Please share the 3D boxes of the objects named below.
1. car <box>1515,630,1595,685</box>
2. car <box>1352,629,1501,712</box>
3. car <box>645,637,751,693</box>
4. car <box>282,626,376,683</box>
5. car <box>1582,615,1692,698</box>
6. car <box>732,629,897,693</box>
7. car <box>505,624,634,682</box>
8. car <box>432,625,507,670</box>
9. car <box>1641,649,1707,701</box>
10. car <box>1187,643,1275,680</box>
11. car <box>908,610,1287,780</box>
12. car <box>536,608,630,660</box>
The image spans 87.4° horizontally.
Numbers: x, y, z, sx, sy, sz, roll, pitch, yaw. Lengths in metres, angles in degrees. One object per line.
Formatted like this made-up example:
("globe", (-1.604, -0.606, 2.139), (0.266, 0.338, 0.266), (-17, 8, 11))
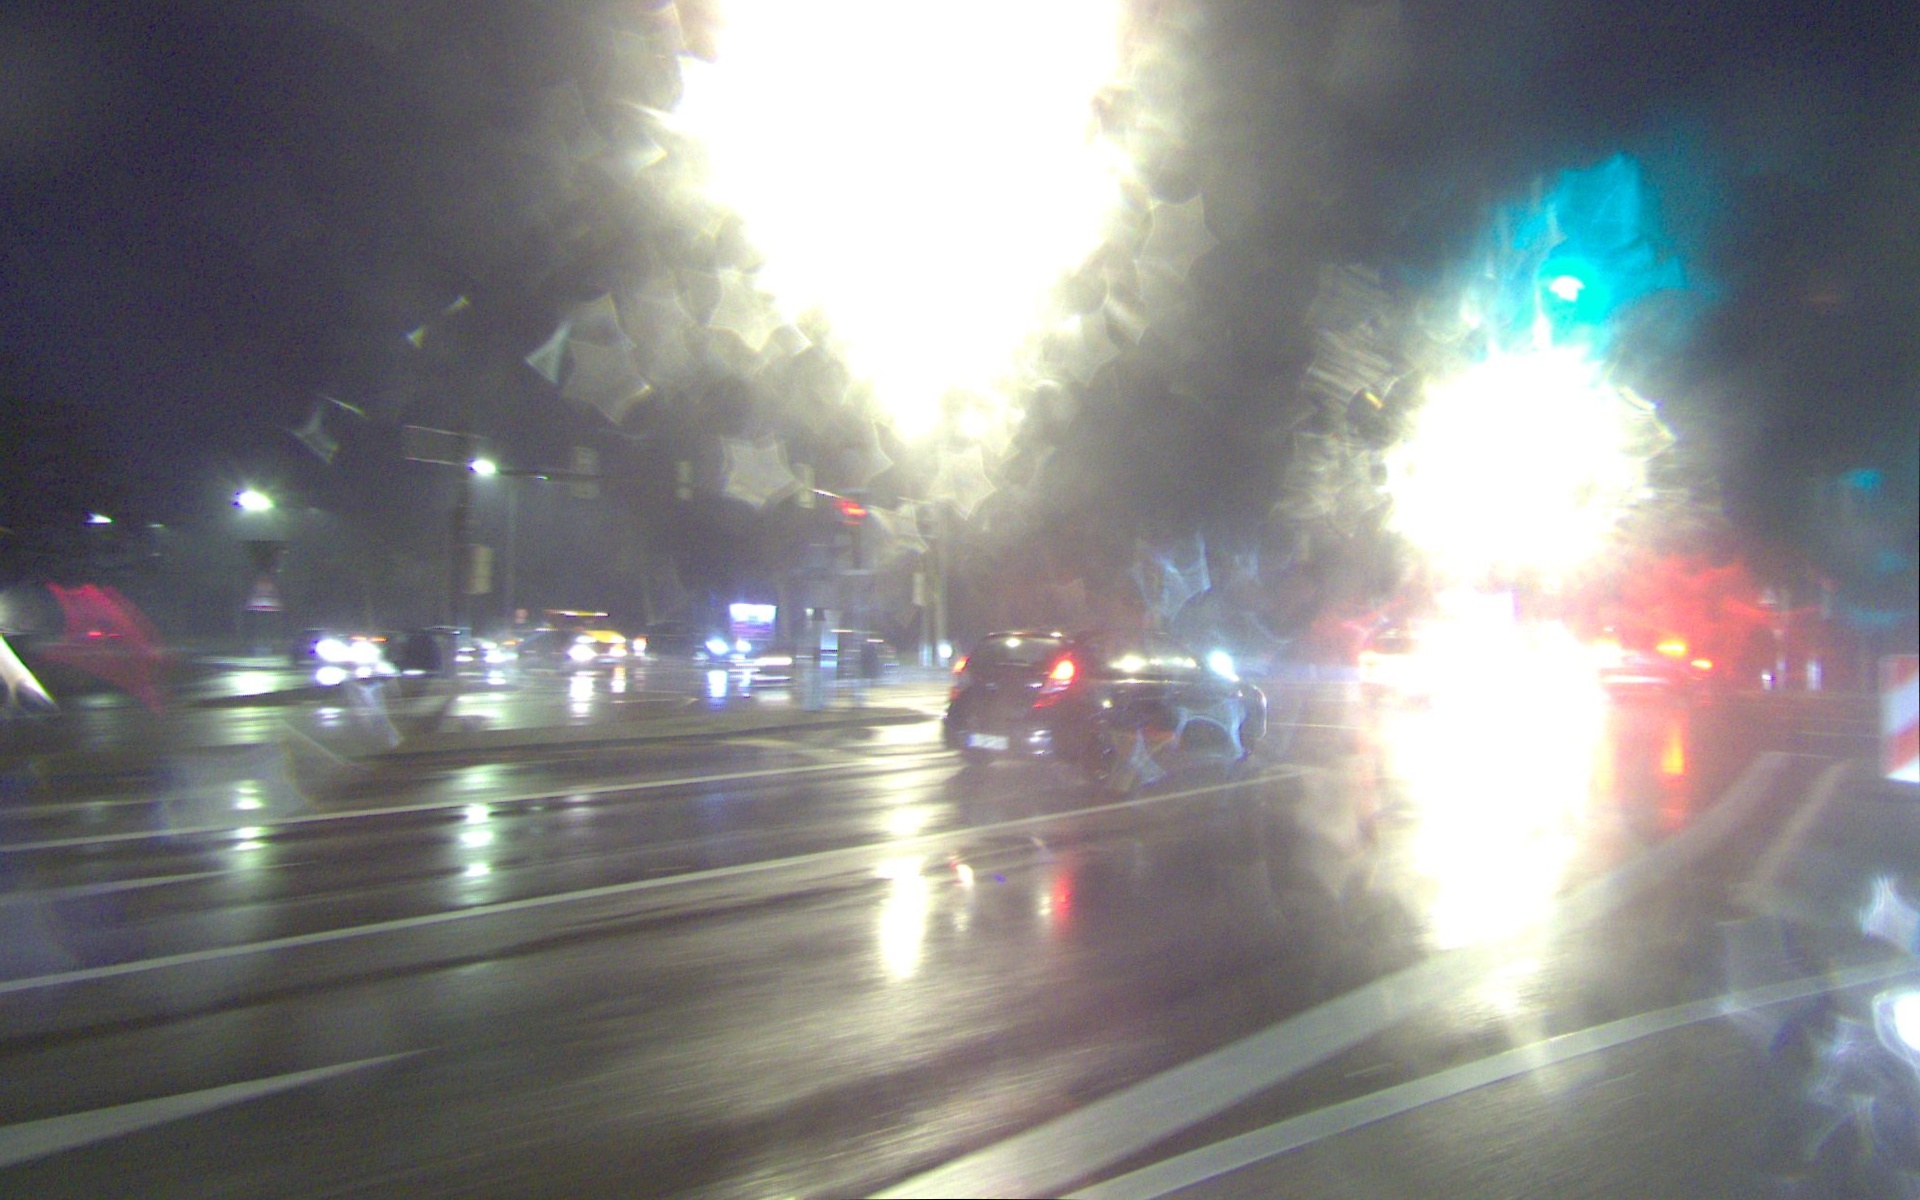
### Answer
("car", (19.855, 1.898, 33.453), (1.885, 1.680, 3.972), (0, -2, 37))
("car", (9.389, 1.328, 20.031), (1.715, 1.455, 4.271), (0, -2, 39))
("car", (-10.079, 2.447, 38.583), (4.078, 1.878, 1.662), (1, -1, 35))
("car", (-25.895, 2.192, 41.188), (3.930, 2.107, 1.660), (1, -1, 31))
("car", (14.914, 1.207, 22.090), (1.826, 1.612, 4.010), (1, -2, 36))
("car", (-3.685, 1.505, 25.922), (1.704, 1.433, 4.005), (2, 0, 43))
("car", (-12.874, 1.700, 33.036), (4.189, 1.654, 1.952), (1, -1, 35))
("car", (-23.754, 2.275, 48.624), (3.550, 1.964, 1.708), (1, -1, 35))
("car", (27.404, 2.836, 38.650), (1.802, 1.675, 4.468), (2, 0, 33))
("car", (12.317, 2.774, 45.575), (4.001, 1.494, 1.816), (2, 0, -38))
("car", (1.592, 0.908, 10.502), (4.095, 1.426, 1.812), (4, -4, -44))
("car", (-16.358, 1.433, 43.543), (4.078, 2.051, 1.788), (1, -1, 35))
